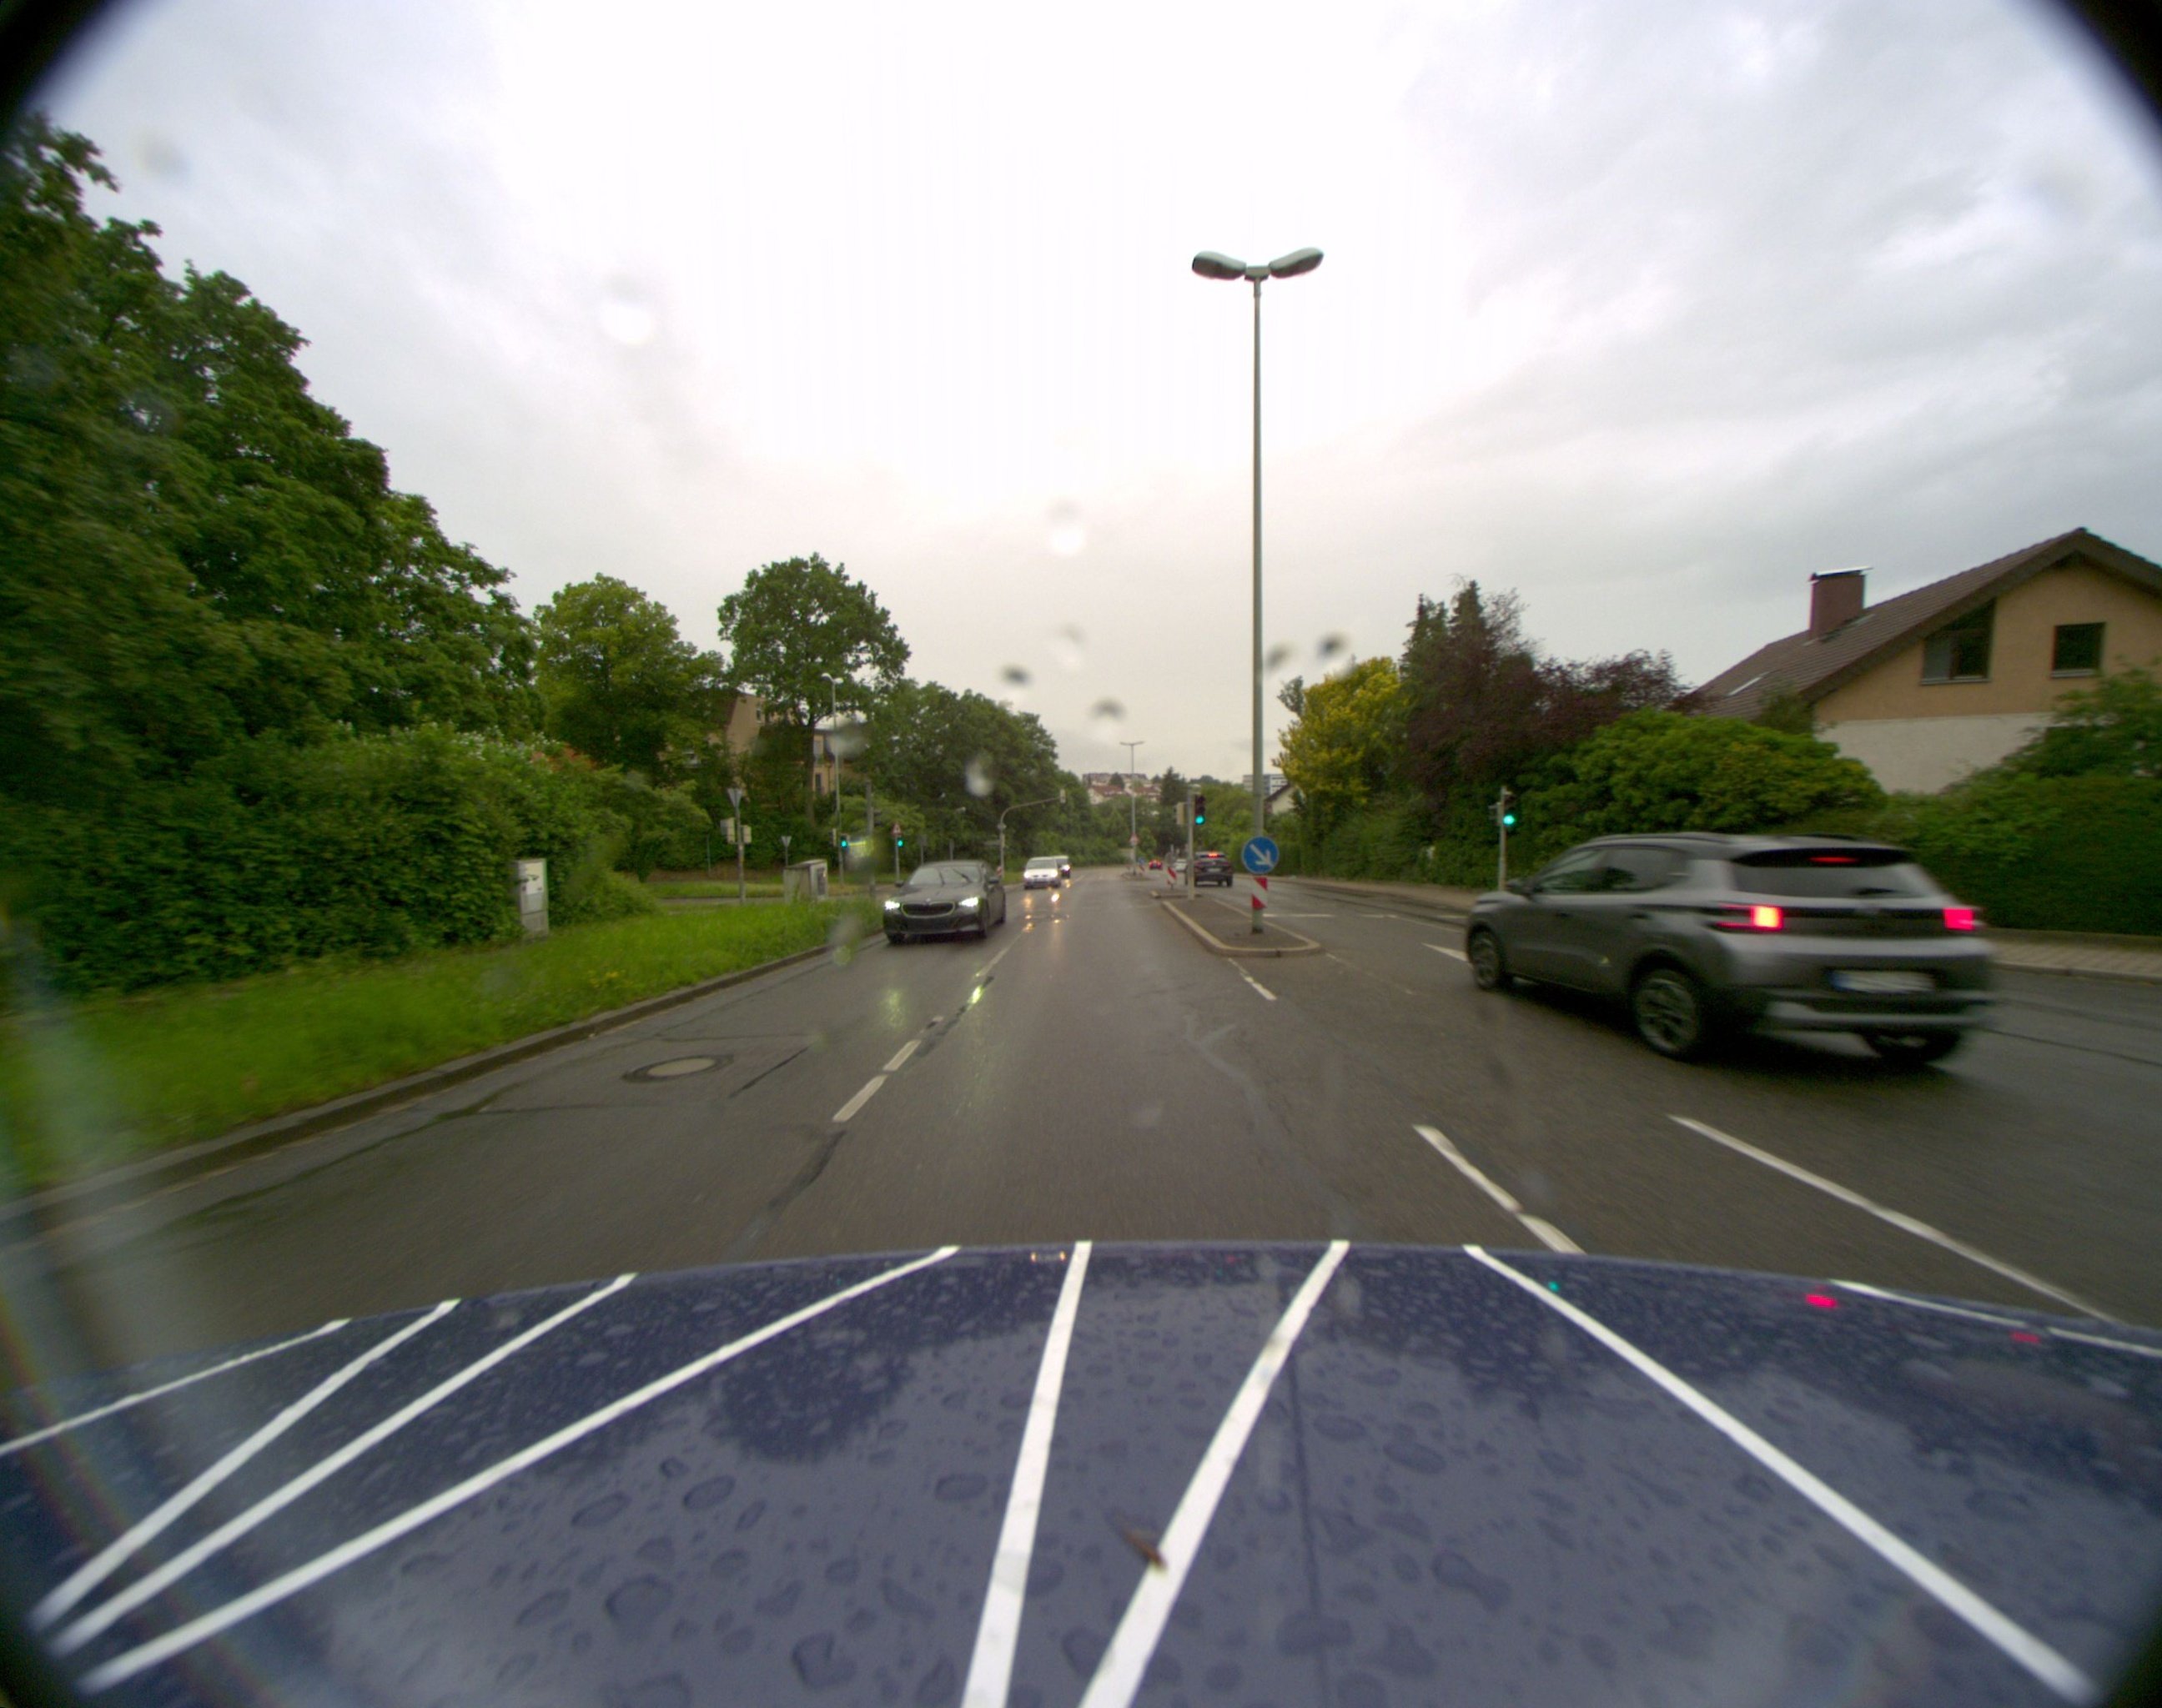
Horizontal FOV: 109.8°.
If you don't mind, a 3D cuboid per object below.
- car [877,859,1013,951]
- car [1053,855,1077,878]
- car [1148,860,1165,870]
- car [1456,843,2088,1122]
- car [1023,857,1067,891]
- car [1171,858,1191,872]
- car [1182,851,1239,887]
[{"bbox_3d":[-2.607,0.918,15.574,1.867,1.547,4.119,0,1,3],"label":"car"},{"bbox_3d":[-1.285,0.969,61.265,1.814,1.797,4.119,0,0,0],"label":"car"},{"bbox_3d":[11.693,1.689,117.561,1.865,1.484,3.839,0,0,18],"label":"car"},{"bbox_3d":[4.876,0.728,6.227,1.799,1.593,3.731,0,0,1],"label":"car"},{"bbox_3d":[-1.726,0.941,37.919,1.814,1.546,4.120,0,0,3],"label":"car"},{"bbox_3d":[10.664,1.148,81.137,1.731,1.476,4.157,1,0,2],"label":"car"},{"bbox_3d":[5.899,0.629,35.036,2.030,1.554,3.877,0,0,2],"label":"car"}]
